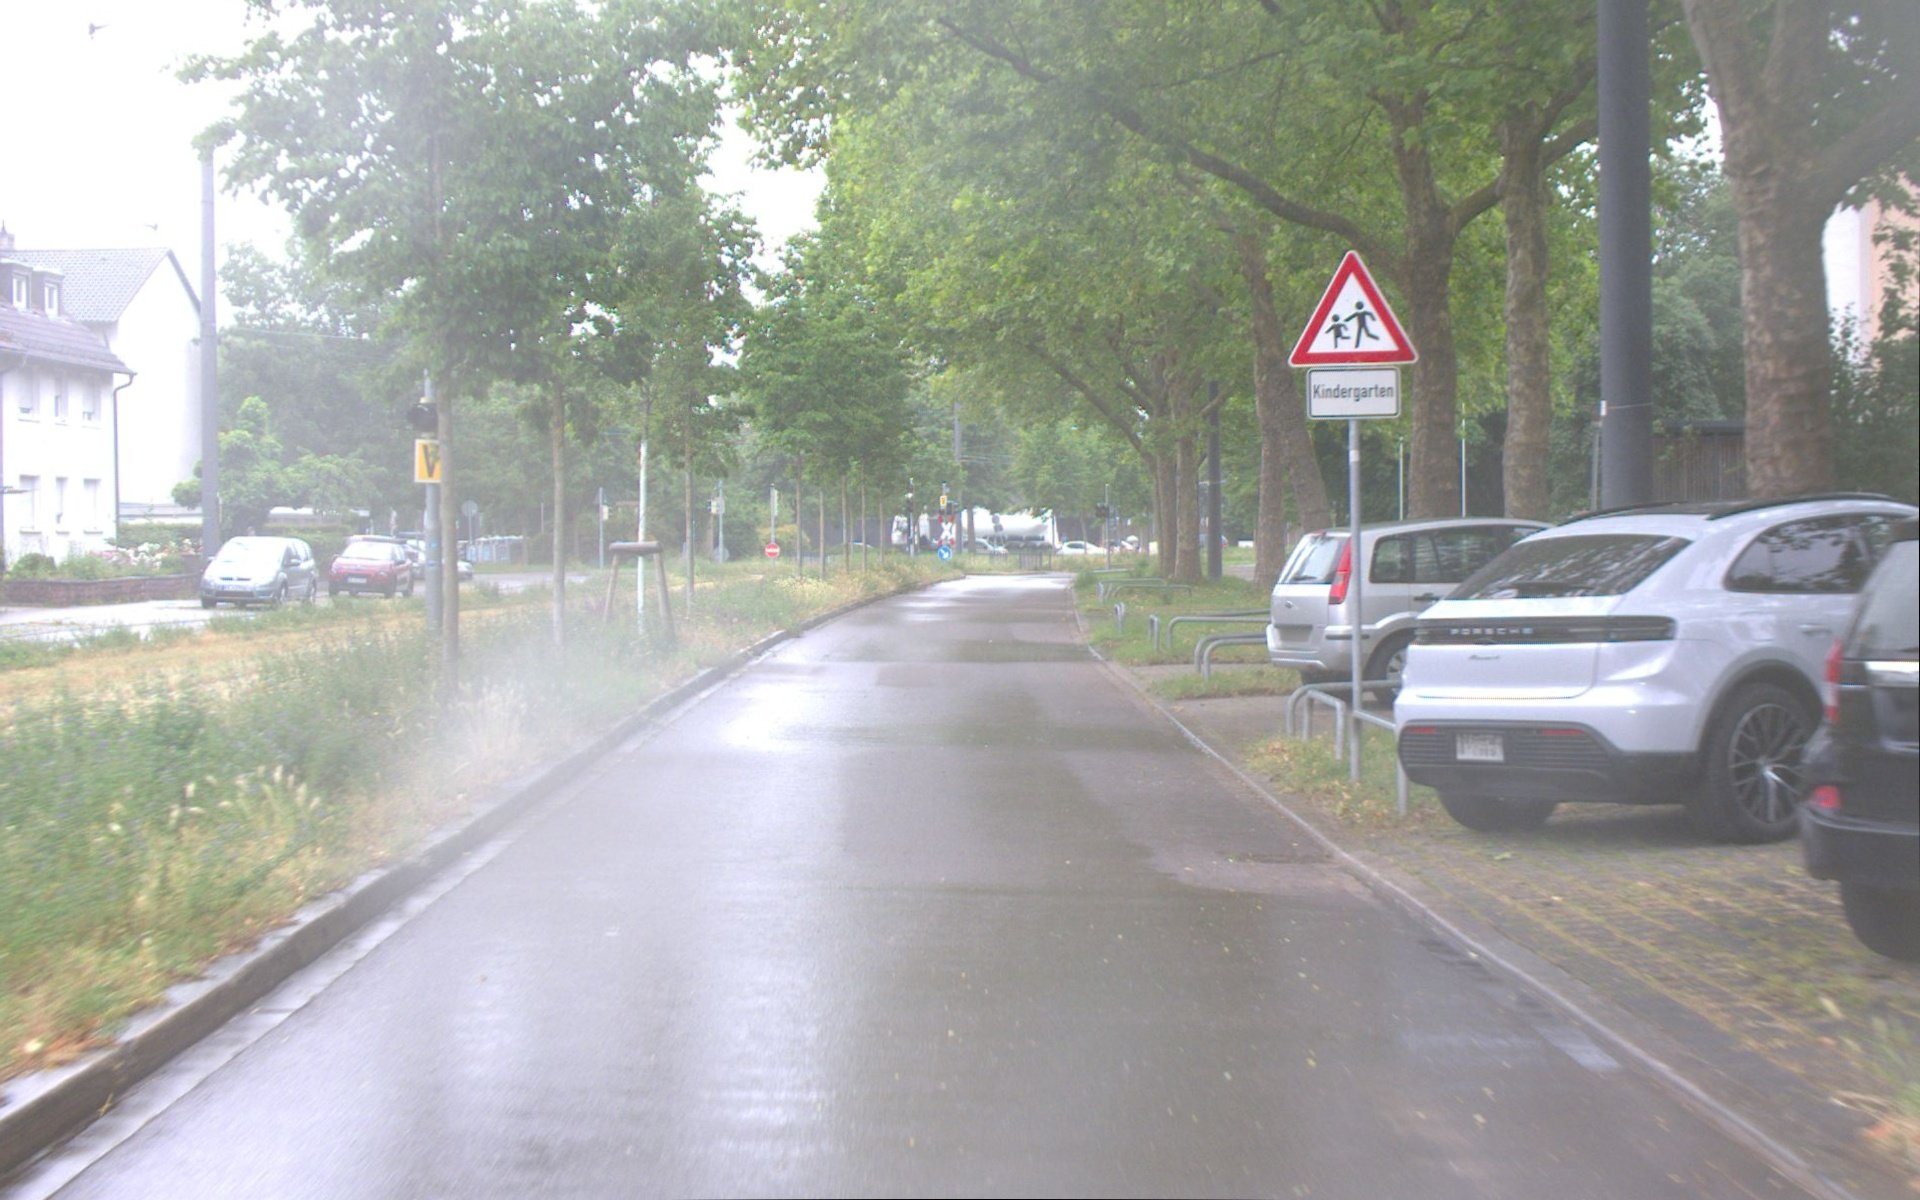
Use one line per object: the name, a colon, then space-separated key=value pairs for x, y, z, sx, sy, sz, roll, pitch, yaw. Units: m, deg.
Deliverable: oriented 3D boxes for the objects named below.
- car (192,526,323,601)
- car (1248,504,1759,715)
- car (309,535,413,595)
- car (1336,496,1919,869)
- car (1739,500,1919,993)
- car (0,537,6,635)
car: x=-15.945 y=-0.850 z=78.271 sx=1.993 sy=1.575 sz=4.517 roll=1 pitch=2 yaw=1
car: x=4.531 y=0.049 z=28.789 sx=3.854 sy=1.561 sz=1.620 roll=-2 pitch=2 yaw=-14
car: x=-16.023 y=-0.965 z=92.136 sx=1.993 sy=1.483 sz=4.206 roll=1 pitch=2 yaw=1
car: x=4.394 y=0.307 z=17.811 sx=4.761 sy=1.662 sz=1.994 roll=-2 pitch=2 yaw=-37
car: x=4.617 y=0.410 z=11.857 sx=3.702 sy=1.561 sz=1.619 roll=-2 pitch=2 yaw=-33
car: x=-16.688 y=-0.198 z=54.219 sx=1.993 sy=1.608 sz=4.413 roll=1 pitch=2 yaw=1
